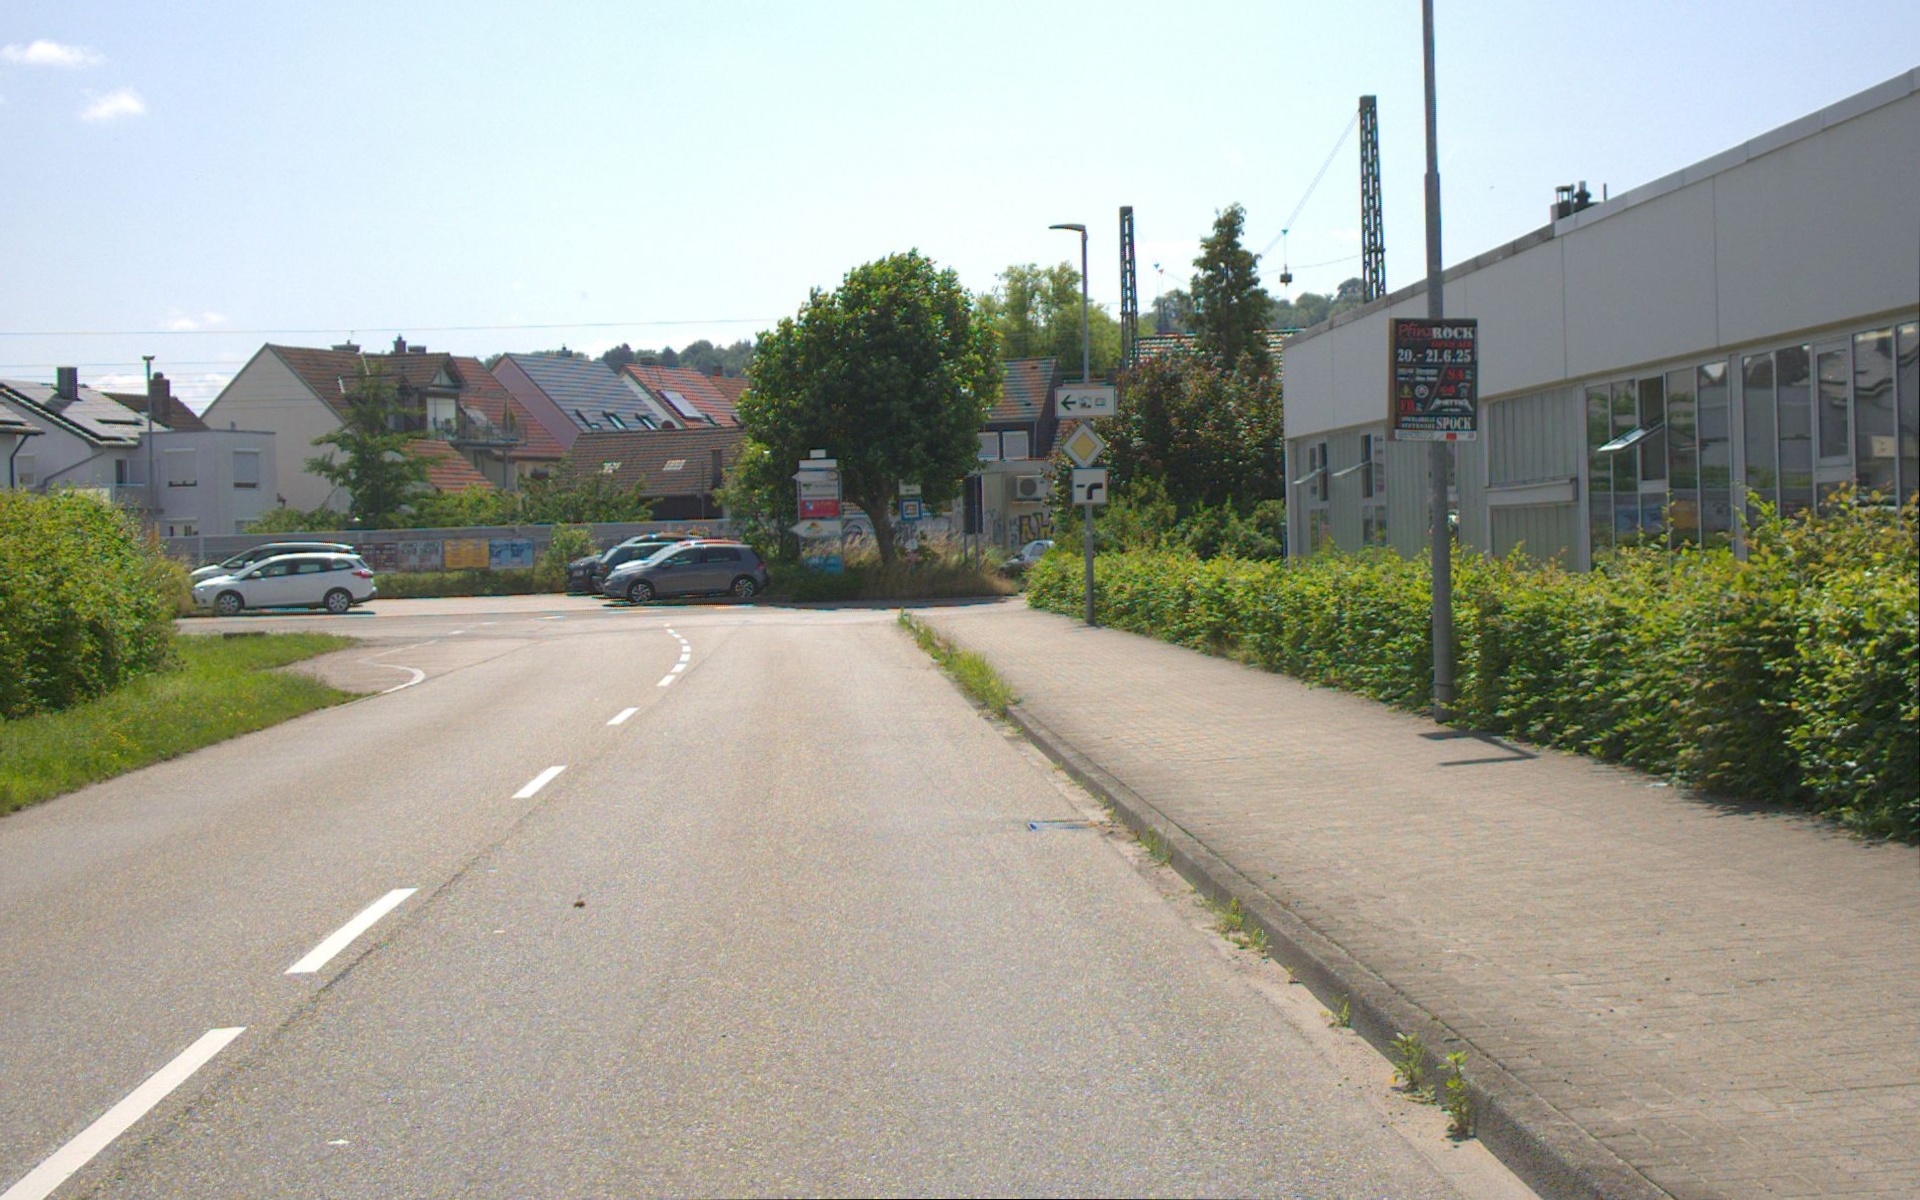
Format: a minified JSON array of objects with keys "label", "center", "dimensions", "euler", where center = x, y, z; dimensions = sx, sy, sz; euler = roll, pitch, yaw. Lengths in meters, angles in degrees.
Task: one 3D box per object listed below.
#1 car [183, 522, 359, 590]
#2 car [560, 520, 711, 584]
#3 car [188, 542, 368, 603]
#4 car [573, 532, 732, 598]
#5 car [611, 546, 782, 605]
[{"label":"car","center":[-18.035,-1.163,90.068],"dimensions":[4.450,1.685,2.001],"euler":[-1,2,-11]},{"label":"car","center":[-9.030,-1.319,95.438],"dimensions":[3.986,1.724,1.771],"euler":[0,0,-12]},{"label":"car","center":[-16.953,-0.679,85.441],"dimensions":[4.281,1.472,1.828],"euler":[0,0,-14]},{"label":"car","center":[-8.240,-0.958,92.080],"dimensions":[3.986,1.652,2.001],"euler":[-2,1,-12]},{"label":"car","center":[-6.748,-0.624,88.048],"dimensions":[4.186,1.458,1.665],"euler":[-1,0,-11]}]
